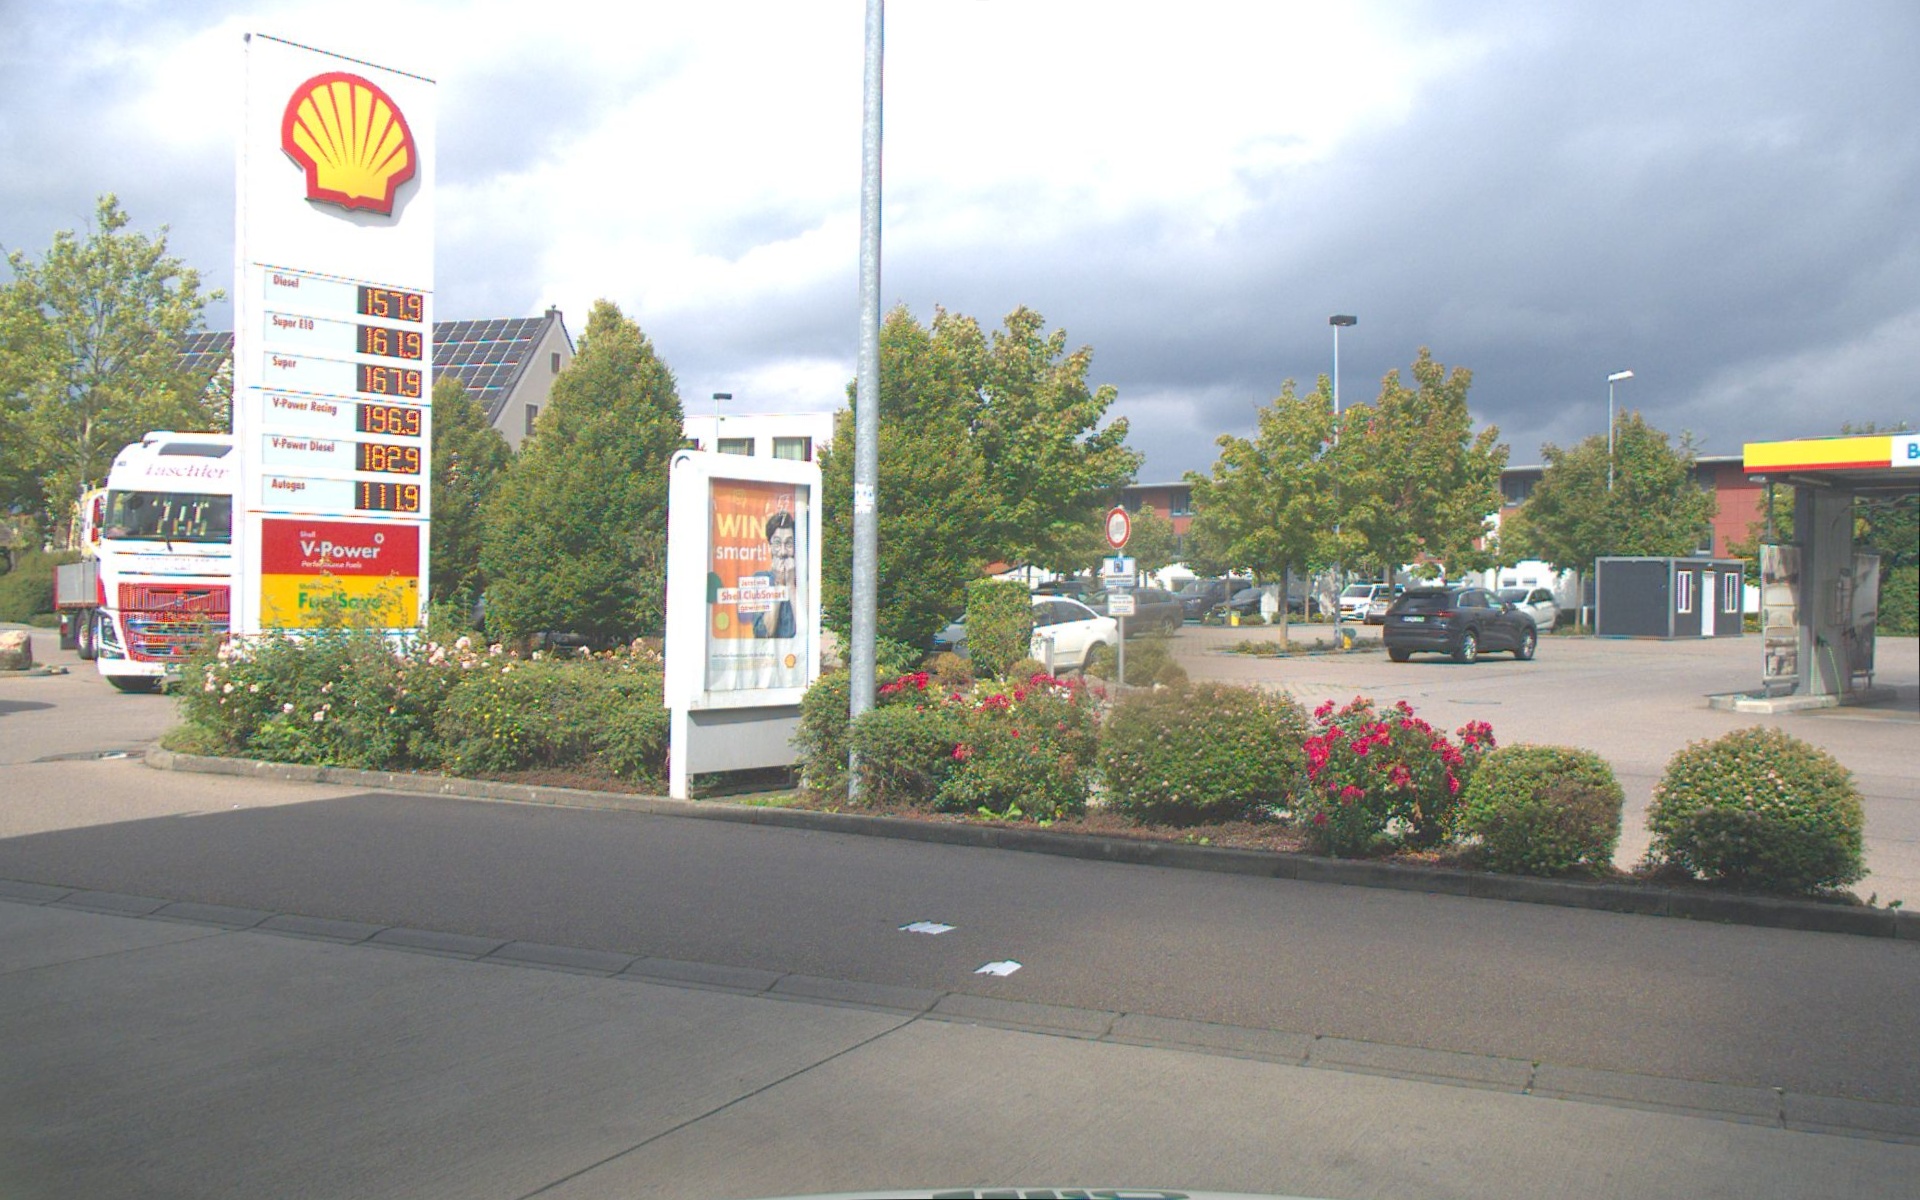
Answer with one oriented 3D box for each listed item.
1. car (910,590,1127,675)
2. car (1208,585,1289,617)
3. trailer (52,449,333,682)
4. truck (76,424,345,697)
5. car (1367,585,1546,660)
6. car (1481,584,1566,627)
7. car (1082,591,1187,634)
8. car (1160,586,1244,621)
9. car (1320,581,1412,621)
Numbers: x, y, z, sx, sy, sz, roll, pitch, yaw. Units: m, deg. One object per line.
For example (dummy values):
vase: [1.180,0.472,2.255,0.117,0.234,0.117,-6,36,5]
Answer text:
car: [1.125,0.583,29.933,1.348,1.428,4.312,1,-1,45]
car: [11.404,0.053,65.207,3.393,1.199,1.462,1,0,-45]
trailer: [-15.724,-0.587,33.101,2.709,3.842,12.550,1,0,-36]
truck: [-11.936,-0.550,26.910,2.684,3.913,5.901,1,0,-12]
car: [11.123,0.494,36.890,4.467,1.575,1.856,1,0,-44]
car: [17.999,0.181,52.803,3.080,1.330,1.346,1,-1,-45]
car: [5.270,0.376,49.789,3.203,1.249,1.481,1,0,-45]
car: [9.803,0.157,66.929,3.364,1.343,1.719,1,0,-45]
car: [19.906,0.050,80.942,4.839,1.865,2.150,1,0,-44]
